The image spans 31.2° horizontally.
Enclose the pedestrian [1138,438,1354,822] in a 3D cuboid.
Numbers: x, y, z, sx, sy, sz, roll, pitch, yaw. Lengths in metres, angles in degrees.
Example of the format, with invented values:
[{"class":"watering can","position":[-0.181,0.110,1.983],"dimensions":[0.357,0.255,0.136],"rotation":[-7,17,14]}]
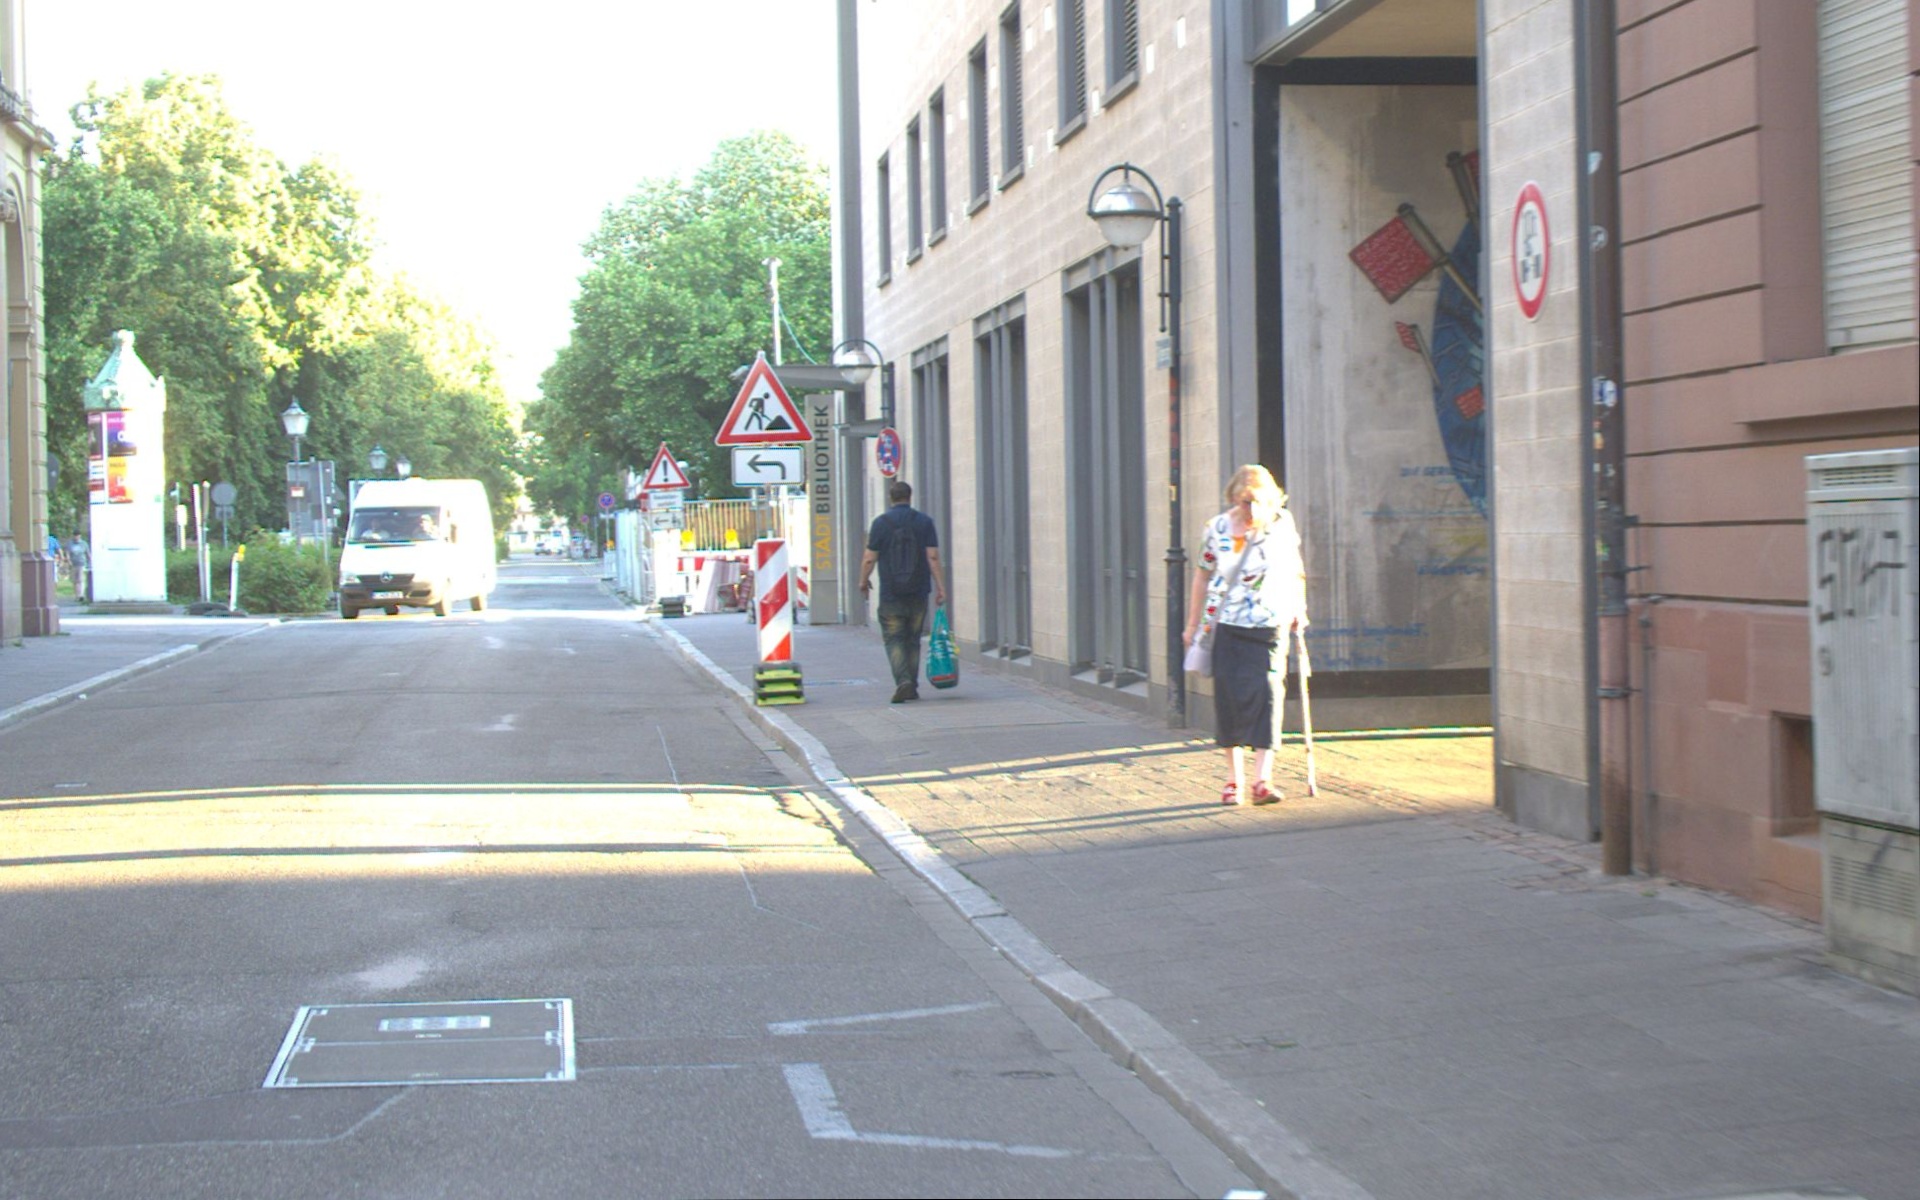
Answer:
[{"class":"pedestrian","position":[1.398,0.136,16.962],"dimensions":[0.845,1.797,0.897],"rotation":[-4,1,-2]}]

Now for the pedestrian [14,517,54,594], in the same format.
[{"class":"pedestrian","position":[-21.876,-1.056,81.223],"dimensions":[0.849,1.801,0.664],"rotation":[-1,1,-20]}]

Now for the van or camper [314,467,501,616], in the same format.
[{"class":"van or camper","position":[-10.082,-1.108,63.304],"dimensions":[2.219,2.576,6.372],"rotation":[-1,1,1]}]

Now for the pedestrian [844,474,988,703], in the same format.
[{"class":"pedestrian","position":[-0.365,-0.097,27.962],"dimensions":[1.000,1.797,0.882],"rotation":[-2,1,-7]}]

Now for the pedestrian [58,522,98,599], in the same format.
[{"class":"pedestrian","position":[-20.919,-0.946,81.524],"dimensions":[0.849,1.801,0.664],"rotation":[-1,1,-20]}]
